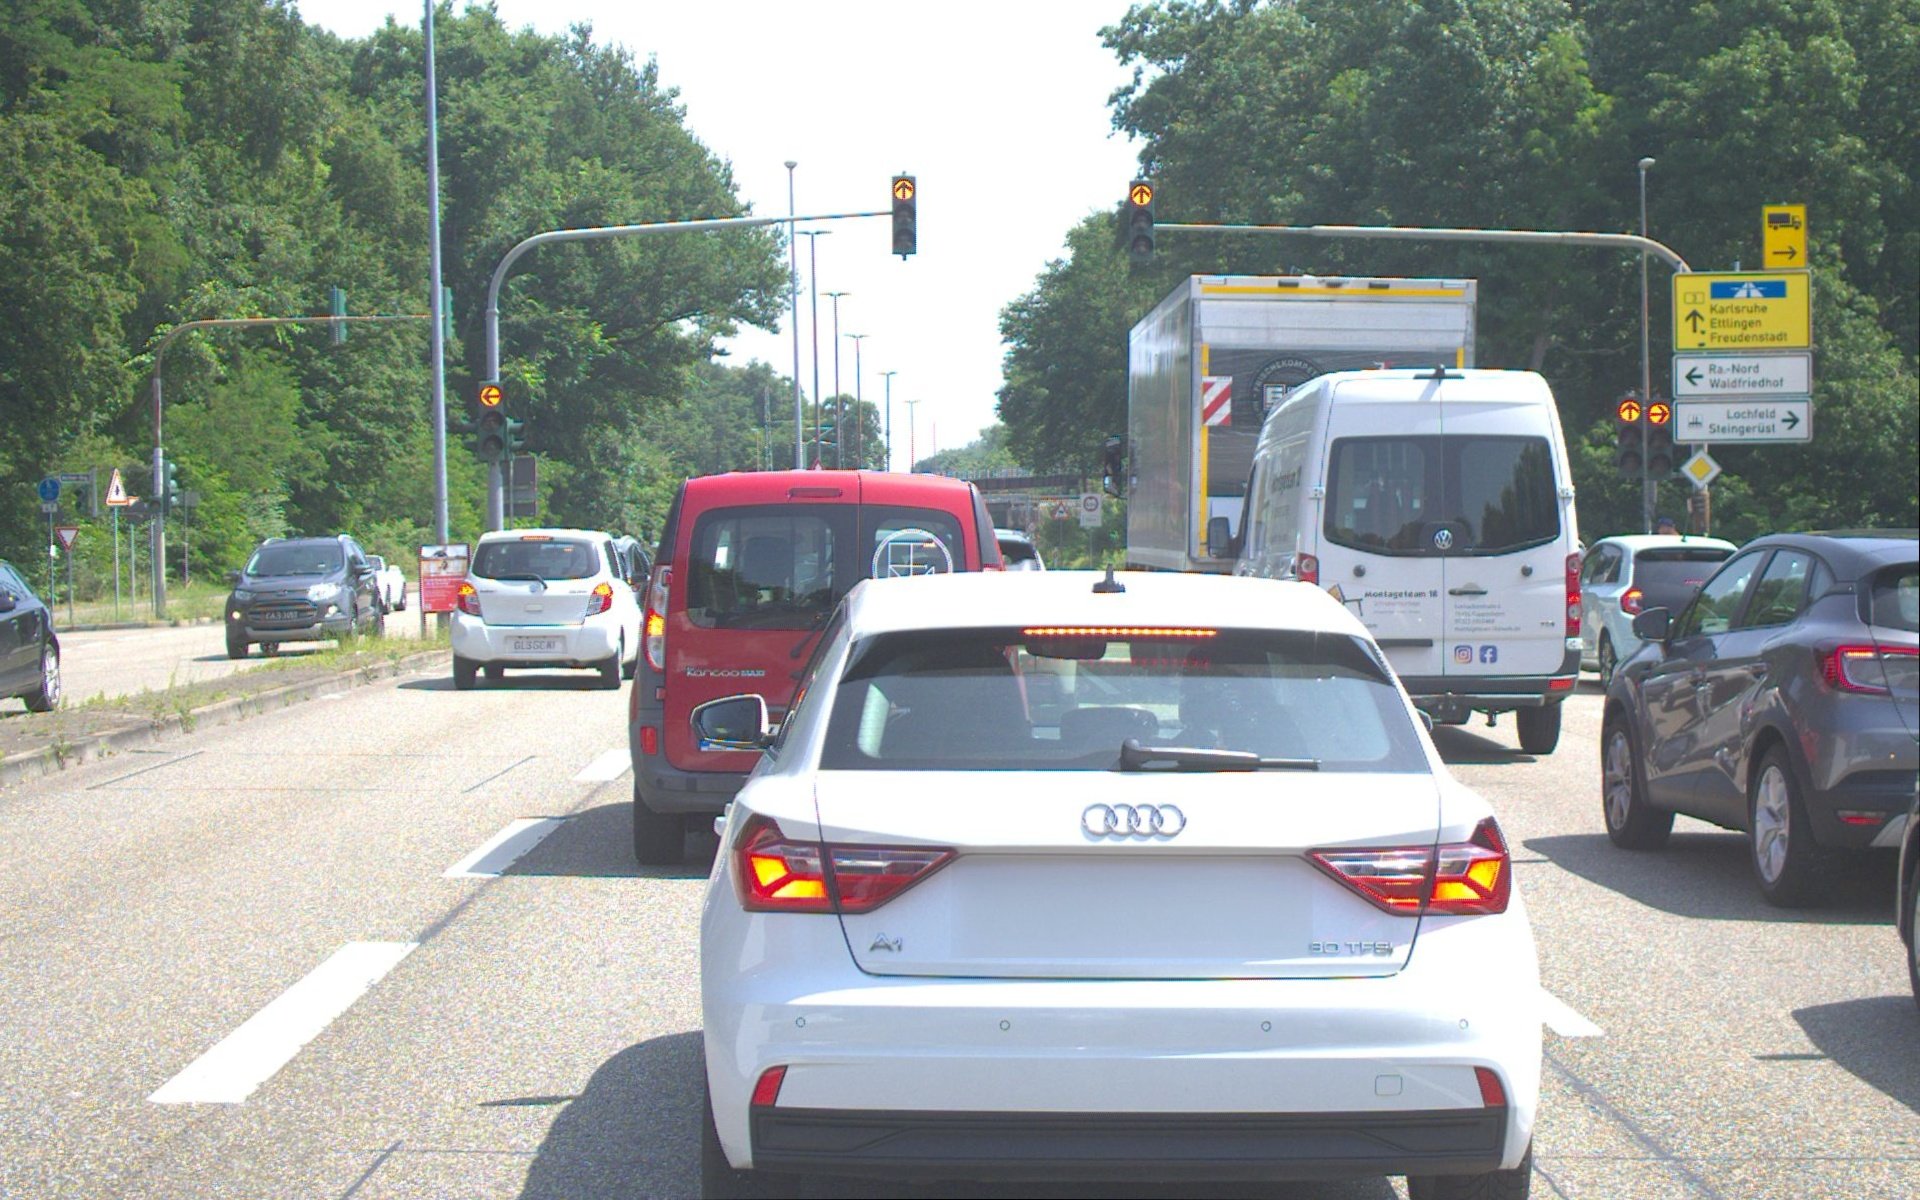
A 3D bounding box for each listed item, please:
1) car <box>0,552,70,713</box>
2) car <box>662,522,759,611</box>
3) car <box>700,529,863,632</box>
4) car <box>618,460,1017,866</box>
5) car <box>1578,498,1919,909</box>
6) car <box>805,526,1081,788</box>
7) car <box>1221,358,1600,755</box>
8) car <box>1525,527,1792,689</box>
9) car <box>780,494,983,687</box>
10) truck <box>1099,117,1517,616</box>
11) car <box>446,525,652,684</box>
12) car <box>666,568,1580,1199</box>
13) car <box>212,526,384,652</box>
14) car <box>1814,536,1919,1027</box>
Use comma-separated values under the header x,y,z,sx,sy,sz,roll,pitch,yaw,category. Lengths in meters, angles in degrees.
x,y,z,sx,sy,sz,roll,pitch,yaw,category
-8.984,0.325,29.567,1.678,1.335,4.001,-4,1,-2,car
-5.861,-0.806,80.459,1.993,2.007,4.001,-1,1,-7,car
-3.673,-0.422,70.049,1.993,2.007,4.001,-2,1,-24,car
-0.686,0.229,16.832,1.711,1.742,4.092,0,1,-2,car
4.054,0.359,15.329,1.711,1.587,4.092,0,1,-2,car
-0.183,0.315,23.421,1.711,1.626,4.092,0,1,-2,car
3.176,-0.336,25.272,2.031,2.635,4.846,0,1,-1,car
6.983,0.036,34.757,1.711,1.541,4.092,0,1,-2,car
-0.742,-0.123,31.152,1.711,1.626,4.092,0,1,-2,car
3.338,-2.204,36.439,3.088,4.418,11.581,1,1,-1,truck
-4.048,0.000,34.389,1.711,1.487,4.092,0,1,-2,car
0.231,0.639,8.485,1.711,1.381,4.092,0,1,-2,car
-9.209,-0.184,48.058,1.686,1.594,3.885,-3,1,-2,car
3.812,0.608,9.430,1.711,1.473,4.092,3,1,-2,car
